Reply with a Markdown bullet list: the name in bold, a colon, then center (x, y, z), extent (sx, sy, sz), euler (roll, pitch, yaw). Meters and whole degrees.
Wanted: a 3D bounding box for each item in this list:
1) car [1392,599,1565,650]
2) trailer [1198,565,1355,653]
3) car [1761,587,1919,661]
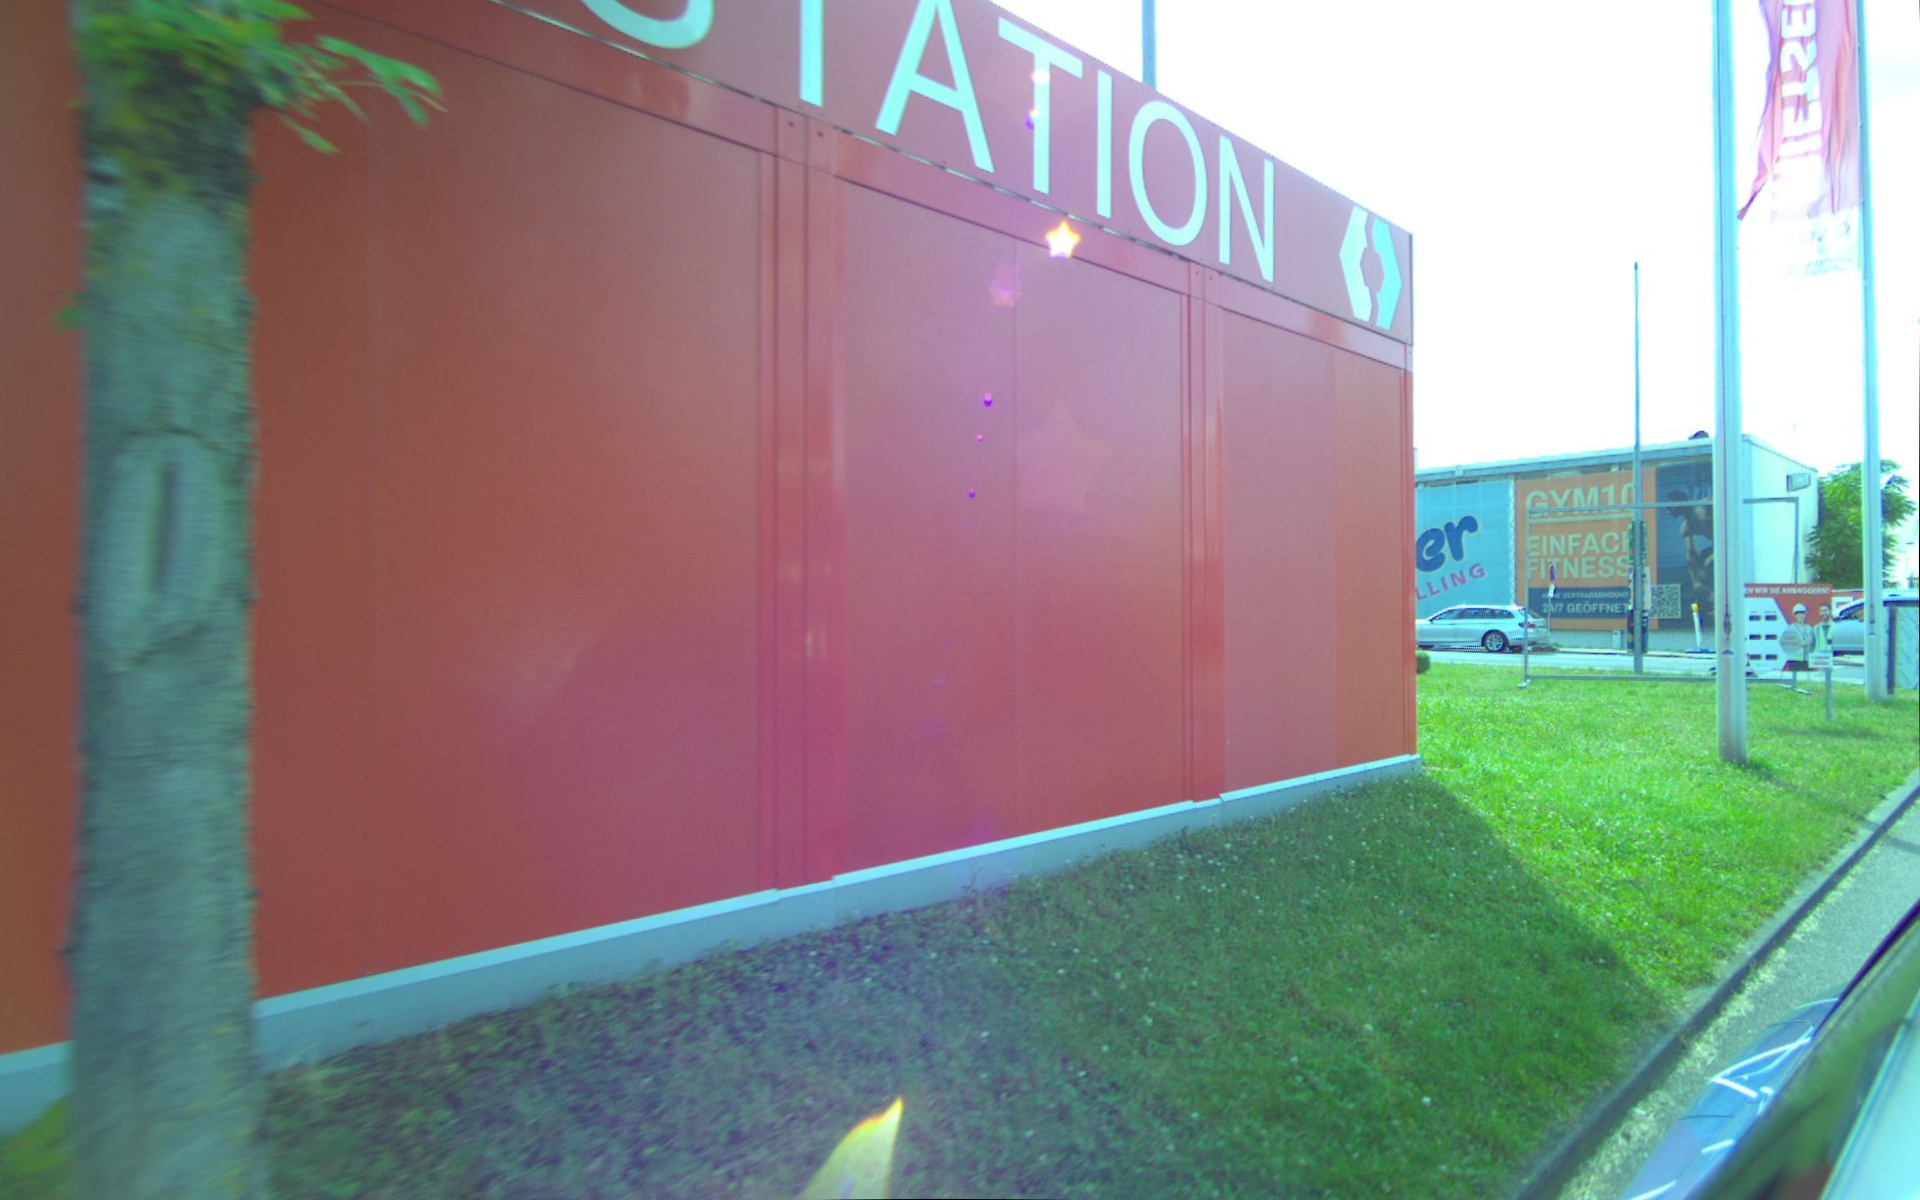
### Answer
- **car**: center (16.383, 0.738, 32.182), extent (1.738, 1.499, 4.613), euler (1, -1, -38)
- **trailer**: center (9.553, 0.219, 30.791), extent (1.738, 2.448, 4.271), euler (-3, 2, -40)
- **car**: center (22.417, 0.566, 24.261), extent (1.837, 1.721, 4.828), euler (2, -1, -43)
